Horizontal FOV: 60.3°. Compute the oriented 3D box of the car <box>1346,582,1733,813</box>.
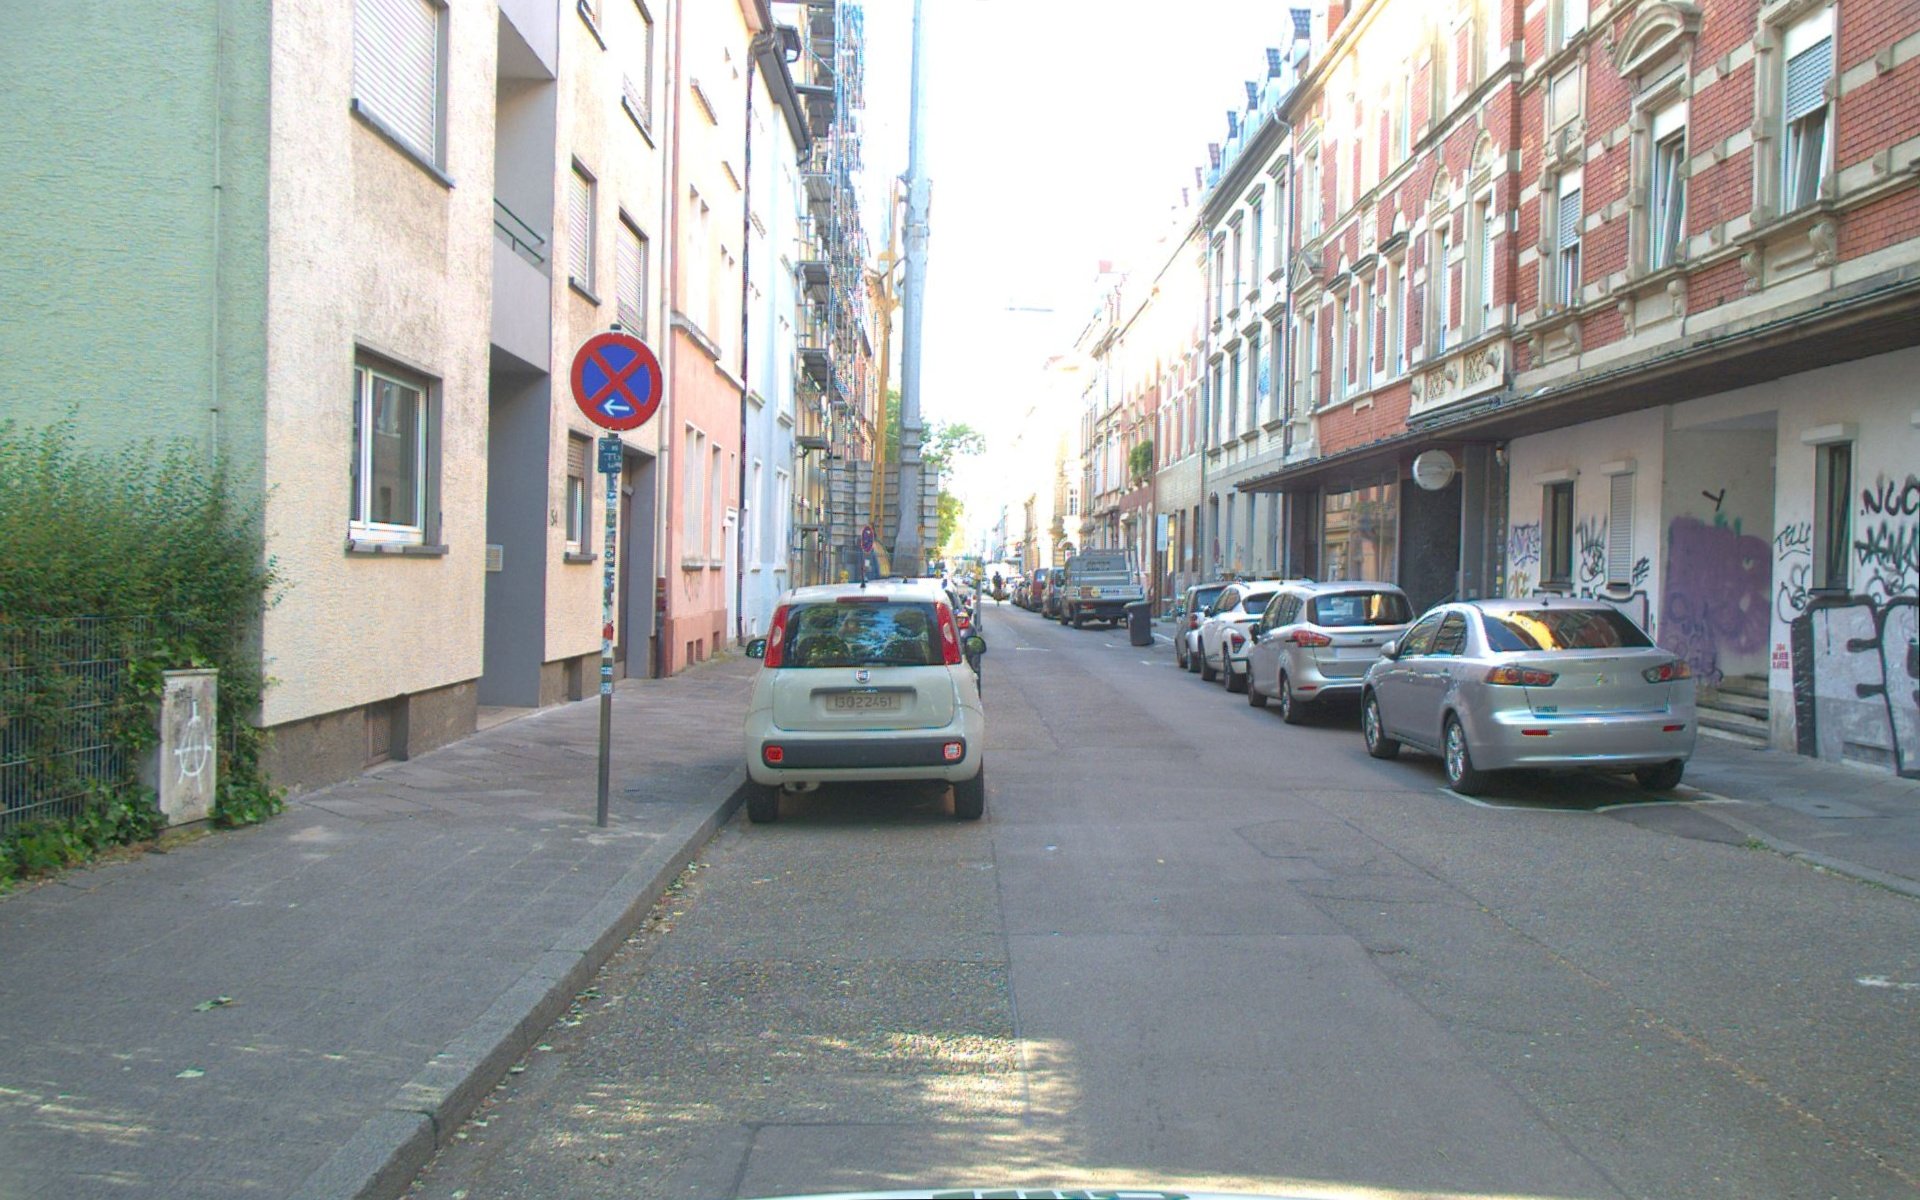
[{"bbox_3d":[4.704,0.681,14.154,1.686,1.589,4.398,1,1,-1],"label":"car"}]

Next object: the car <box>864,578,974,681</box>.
[{"bbox_3d":[-0.650,0.419,27.037,1.641,1.538,4.414,1,1,-1],"label":"car"}]

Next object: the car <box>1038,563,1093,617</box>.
[{"bbox_3d":[4.041,-0.391,63.677,1.641,1.997,4.107,1,1,-3],"label":"car"}]

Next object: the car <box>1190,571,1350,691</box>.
[{"bbox_3d":[4.769,0.419,25.986,1.710,1.705,4.341,1,1,0],"label":"car"}]

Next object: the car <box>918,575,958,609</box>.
[{"bbox_3d":[-0.989,-0.364,74.071,1.641,1.470,3.867,1,1,-3],"label":"car"}]

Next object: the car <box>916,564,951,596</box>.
[{"bbox_3d":[-1.353,-1.007,84.233,1.641,1.598,3.867,1,1,-3],"label":"car"}]

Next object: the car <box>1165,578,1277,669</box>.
[{"bbox_3d":[4.850,0.385,31.166,1.564,1.587,3.814,0,1,1],"label":"car"}]

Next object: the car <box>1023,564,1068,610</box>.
[{"bbox_3d":[3.920,-0.609,76.169,1.641,2.066,3.867,1,1,-3],"label":"car"}]

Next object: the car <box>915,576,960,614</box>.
[{"bbox_3d":[-0.924,-0.216,65.256,1.641,1.470,3.867,1,1,-3],"label":"car"}]

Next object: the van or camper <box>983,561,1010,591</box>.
[{"bbox_3d":[3.125,-2.071,142.690,1.954,2.552,4.198,0,1,-5],"label":"van or camper"}]

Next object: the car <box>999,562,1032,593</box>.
[{"bbox_3d":[3.804,-1.538,114.090,1.953,2.048,3.999,1,1,-2],"label":"car"}]

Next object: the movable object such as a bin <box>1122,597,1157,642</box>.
[{"bbox_3d":[4.436,0.477,40.927,0.779,1.074,0.660,1,1,-1],"label":"movable object such as a bin"}]

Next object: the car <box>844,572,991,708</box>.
[{"bbox_3d":[-0.599,0.440,21.407,1.694,1.566,4.375,0,1,-3],"label":"car"}]

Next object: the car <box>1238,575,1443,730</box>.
[{"bbox_3d":[4.551,0.561,20.294,1.606,1.685,3.869,1,1,0],"label":"car"}]

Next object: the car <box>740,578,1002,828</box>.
[{"bbox_3d":[-0.648,0.619,12.314,1.641,1.566,3.867,0,1,-3],"label":"car"}]

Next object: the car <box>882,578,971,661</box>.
[{"bbox_3d":[-0.648,0.332,32.766,1.641,1.503,4.607,1,1,-1],"label":"car"}]

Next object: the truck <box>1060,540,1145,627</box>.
[{"bbox_3d":[4.503,-0.552,53.179,2.145,2.652,5.233,0,1,-2],"label":"truck"}]

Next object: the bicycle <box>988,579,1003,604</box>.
[{"bbox_3d":[1.866,-0.441,86.407,0.710,1.207,2.042,2,2,0],"label":"bicycle"}]

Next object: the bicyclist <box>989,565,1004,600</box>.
[{"bbox_3d":[1.880,-0.926,86.414,0.715,1.792,0.835,2,1,0],"label":"bicyclist"}]

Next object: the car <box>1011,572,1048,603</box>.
[{"bbox_3d":[3.745,-0.697,89.653,1.641,1.598,3.867,1,1,-3],"label":"car"}]
